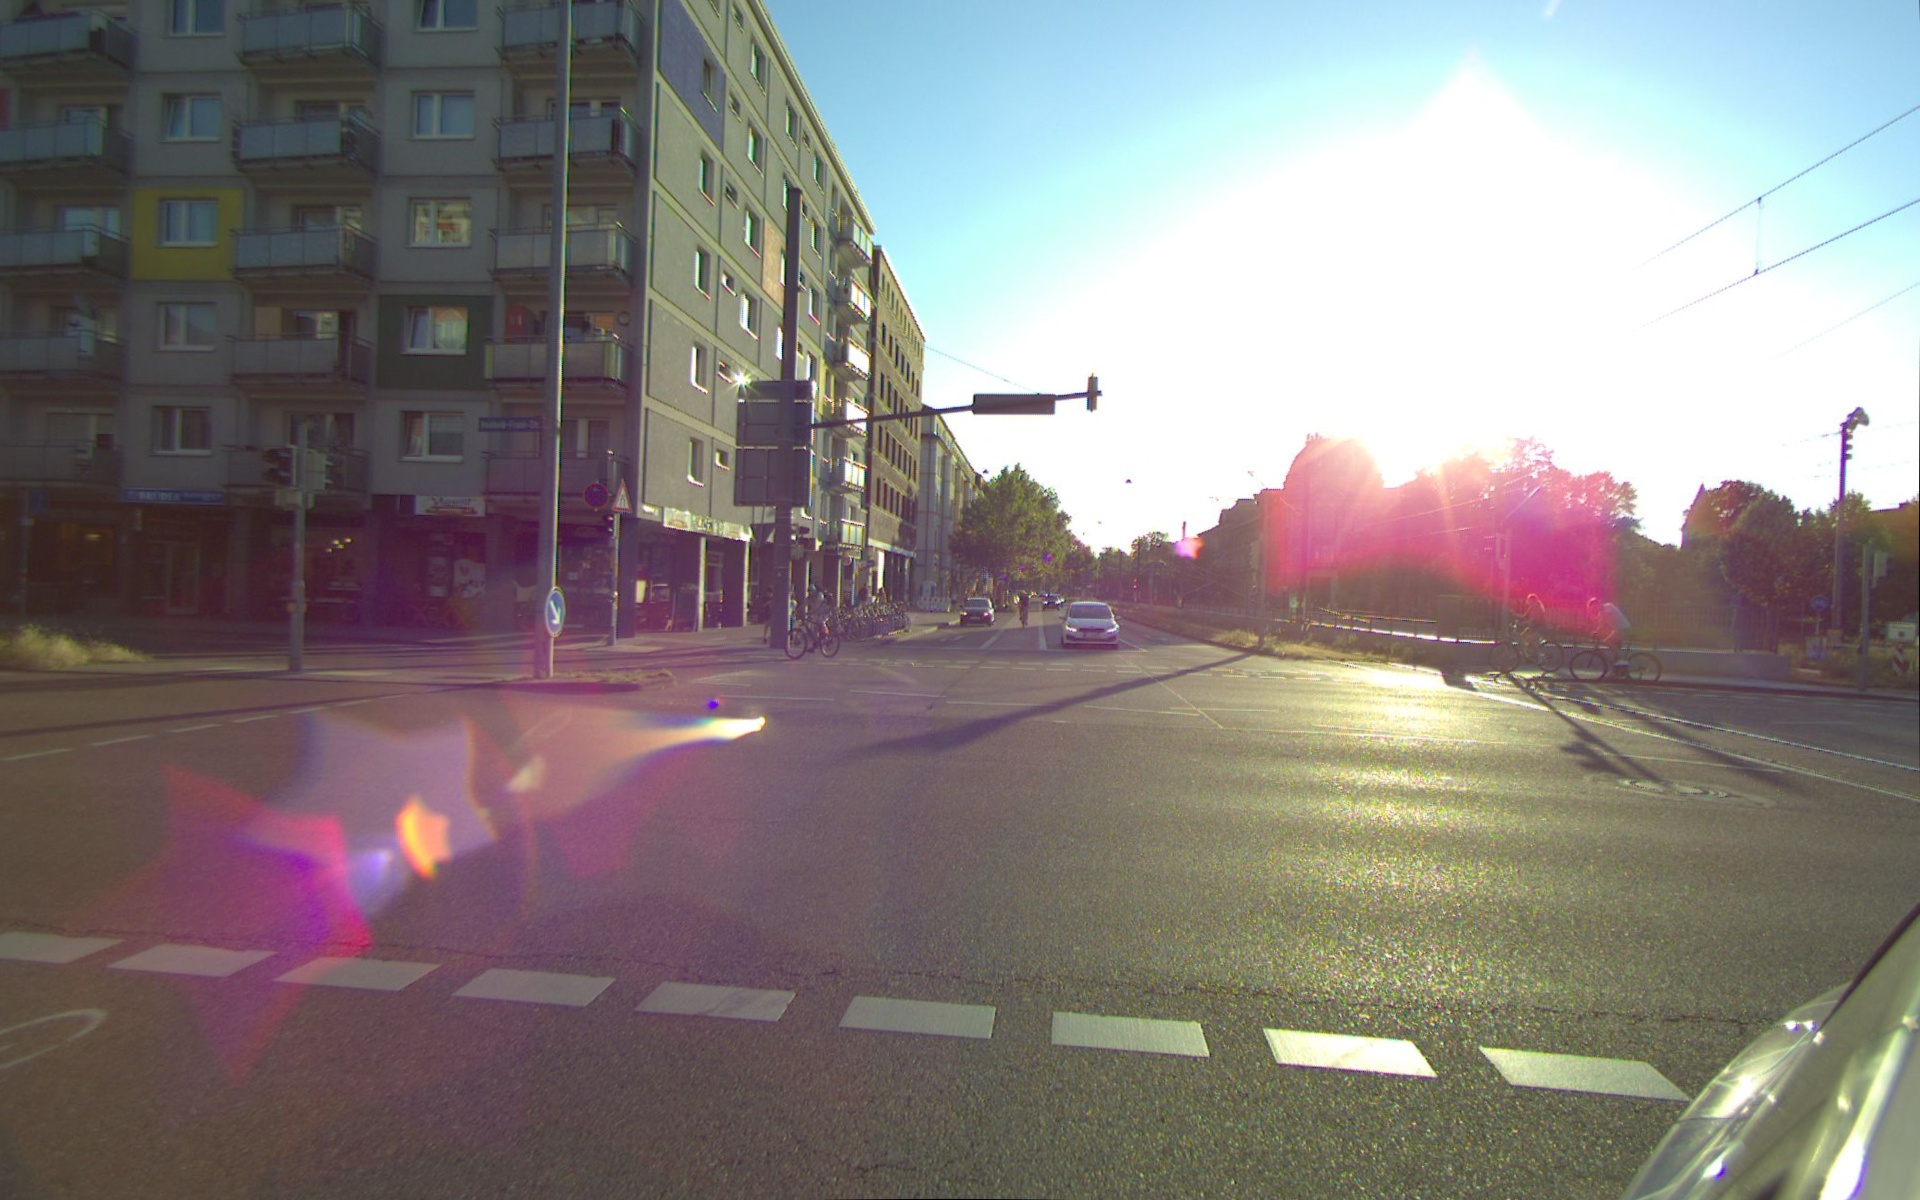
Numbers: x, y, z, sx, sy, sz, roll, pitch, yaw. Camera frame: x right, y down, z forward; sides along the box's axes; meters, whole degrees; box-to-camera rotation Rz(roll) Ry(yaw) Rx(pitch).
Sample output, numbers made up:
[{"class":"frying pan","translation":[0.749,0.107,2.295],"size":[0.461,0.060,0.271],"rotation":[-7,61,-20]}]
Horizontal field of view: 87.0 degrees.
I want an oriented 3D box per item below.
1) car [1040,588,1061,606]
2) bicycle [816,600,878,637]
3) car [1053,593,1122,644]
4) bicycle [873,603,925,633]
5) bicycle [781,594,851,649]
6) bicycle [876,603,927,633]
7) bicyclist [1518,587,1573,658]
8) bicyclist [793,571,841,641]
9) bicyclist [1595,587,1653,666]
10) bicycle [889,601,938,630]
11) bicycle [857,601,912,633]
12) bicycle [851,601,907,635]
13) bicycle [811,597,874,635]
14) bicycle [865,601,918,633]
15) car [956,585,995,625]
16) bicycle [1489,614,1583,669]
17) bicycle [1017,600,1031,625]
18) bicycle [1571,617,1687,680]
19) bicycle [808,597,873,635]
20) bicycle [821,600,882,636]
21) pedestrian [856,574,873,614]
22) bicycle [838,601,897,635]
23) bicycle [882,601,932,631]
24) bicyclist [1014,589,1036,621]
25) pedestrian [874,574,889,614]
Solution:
[{"class":"car","translation":[9.380,-0.302,104.943],"size":[1.967,1.772,3.991],"rotation":[2,1,8]},{"class":"bicycle","translation":[-3.622,0.580,32.393],"size":[1.925,1.134,0.457],"rotation":[1,0,9]},{"class":"car","translation":[4.059,0.563,32.796],"size":[1.921,1.512,3.955],"rotation":[1,0,4]},{"class":"bicycle","translation":[-2.332,0.682,38.842],"size":[1.925,1.134,0.457],"rotation":[1,0,9]},{"class":"bicycle","translation":[-3.269,0.478,23.125],"size":[0.486,1.197,1.950],"rotation":[1,0,30]},{"class":"bicycle","translation":[-2.266,0.698,39.421],"size":[1.925,1.134,0.457],"rotation":[1,0,9]},{"class":"bicyclist","translation":[13.332,0.508,23.048],"size":[0.719,1.588,0.824],"rotation":[1,0,-6]},{"class":"bicyclist","translation":[-3.276,0.130,23.210],"size":[0.817,1.588,0.725],"rotation":[1,0,33]},{"class":"bicyclist","translation":[13.754,0.541,20.991],"size":[0.722,1.588,0.820],"rotation":[1,0,11]},{"class":"bicycle","translation":[-1.898,0.613,41.238],"size":[1.925,1.134,0.457],"rotation":[1,0,9]},{"class":"bicycle","translation":[-2.762,0.626,36.906],"size":[1.925,1.134,0.457],"rotation":[1,0,9]},{"class":"bicycle","translation":[-2.884,0.634,35.933],"size":[1.925,1.134,0.457],"rotation":[1,0,9]},{"class":"bicycle","translation":[-3.691,0.497,31.866],"size":[1.925,1.134,0.457],"rotation":[1,0,9]},{"class":"bicycle","translation":[-2.539,0.626,37.652],"size":[1.925,1.134,0.457],"rotation":[1,0,9]},{"class":"car","translation":[0.851,0.241,53.530],"size":[1.963,2.039,3.998],"rotation":[1,0,2]},{"class":"bicycle","translation":[13.115,0.944,23.050],"size":[1.932,1.197,0.491],"rotation":[1,0,-6]},{"class":"bicycle","translation":[3.154,0.603,49.793],"size":[0.565,1.215,2.202],"rotation":[1,0,6]},{"class":"bicycle","translation":[13.845,0.985,20.985],"size":[1.940,1.197,0.489],"rotation":[2,0,10]},{"class":"bicycle","translation":[-3.695,0.488,31.327],"size":[1.925,1.134,0.457],"rotation":[1,0,9]},{"class":"bicycle","translation":[-3.527,0.582,32.928],"size":[1.925,1.134,0.457],"rotation":[1,0,9]},{"class":"pedestrian","translation":[-4.948,-0.335,52.447],"size":[0.705,2.039,0.645],"rotation":[2,0,7]},{"class":"bicycle","translation":[-3.140,0.605,34.425],"size":[1.925,1.134,0.457],"rotation":[1,0,9]},{"class":"bicycle","translation":[-2.089,0.643,40.270],"size":[1.925,1.134,0.457],"rotation":[1,0,9]},{"class":"bicyclist","translation":[3.192,0.244,49.701],"size":[0.979,1.557,0.921],"rotation":[1,0,7]},{"class":"pedestrian","translation":[-4.054,-0.327,52.178],"size":[0.644,2.039,0.750],"rotation":[1,0,5]}]
